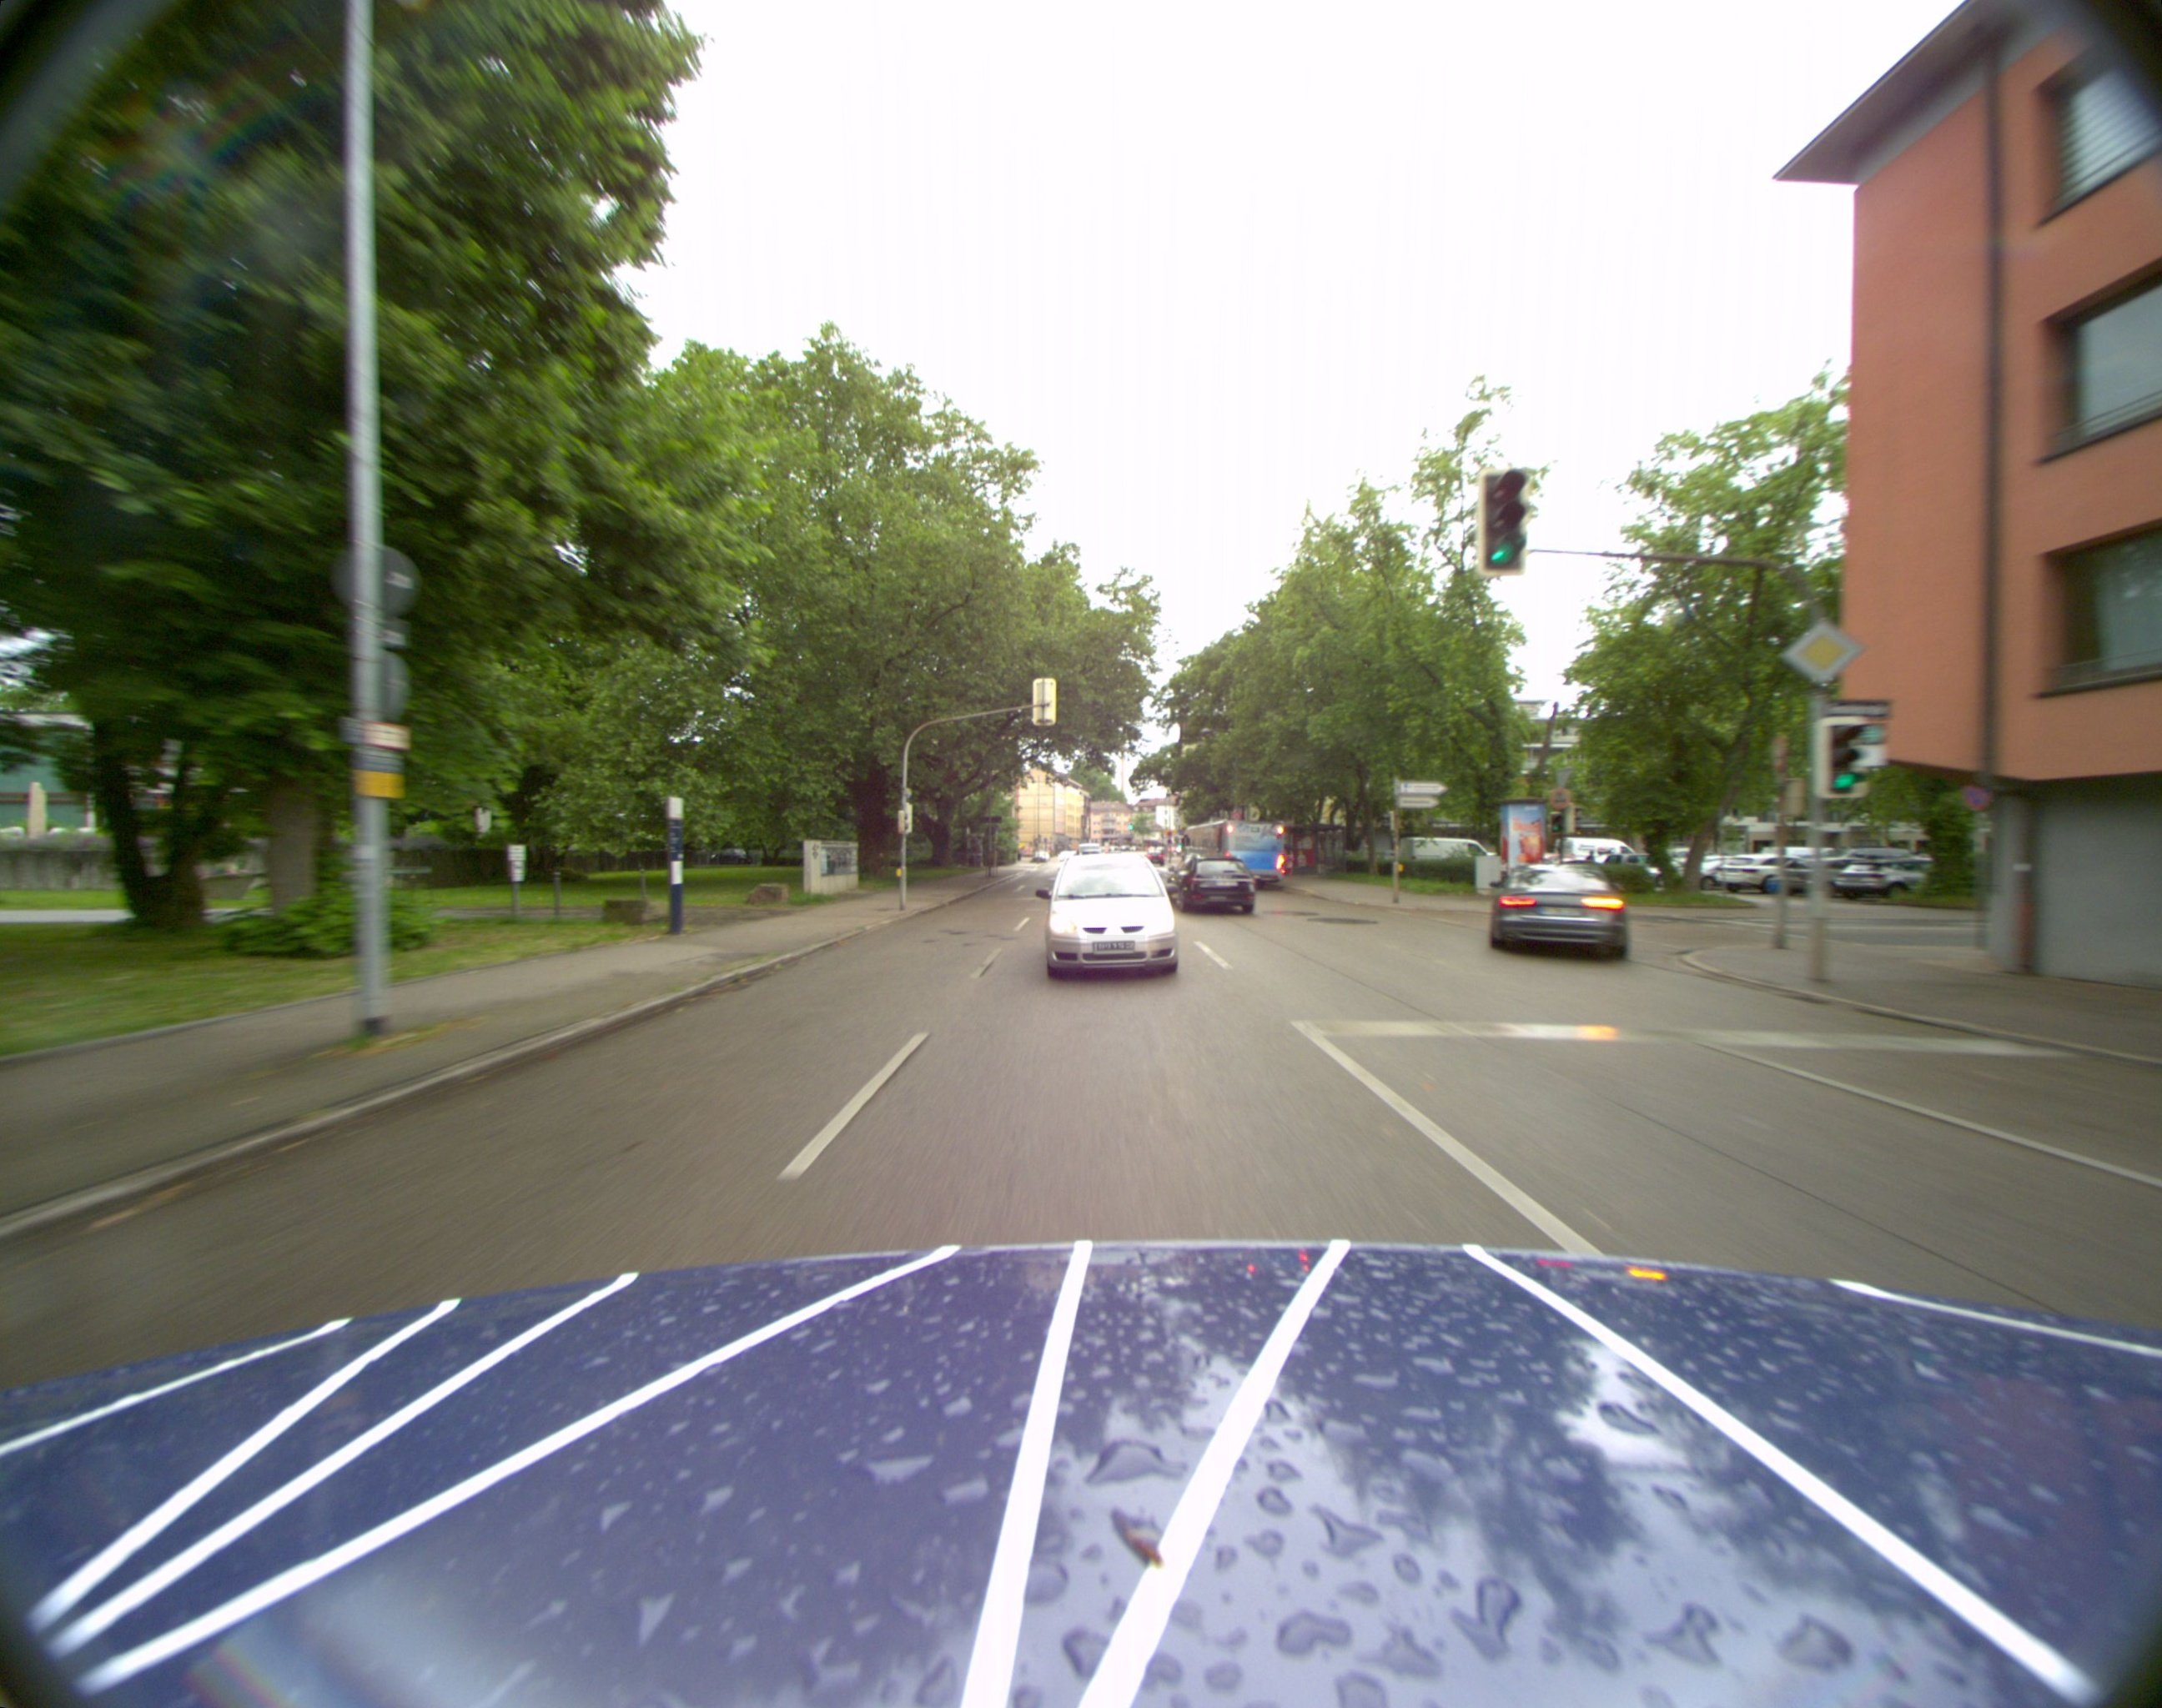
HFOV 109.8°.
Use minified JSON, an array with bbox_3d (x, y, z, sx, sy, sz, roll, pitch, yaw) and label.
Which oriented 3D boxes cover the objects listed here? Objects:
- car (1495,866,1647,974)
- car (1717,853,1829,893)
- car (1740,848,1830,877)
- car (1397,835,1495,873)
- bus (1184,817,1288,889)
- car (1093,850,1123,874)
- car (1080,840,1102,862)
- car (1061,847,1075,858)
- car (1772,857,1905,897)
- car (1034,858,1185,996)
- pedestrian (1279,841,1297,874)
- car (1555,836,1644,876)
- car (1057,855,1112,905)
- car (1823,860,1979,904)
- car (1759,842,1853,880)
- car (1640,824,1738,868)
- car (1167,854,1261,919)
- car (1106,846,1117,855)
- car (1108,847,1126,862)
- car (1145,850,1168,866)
[{"bbox_3d":[8.305,0.961,13.184,1.814,1.407,4.816,2,1,30],"label":"car"},{"bbox_3d":[29.685,0.785,32.648,3.745,1.654,1.701,0,1,-13],"label":"car"},{"bbox_3d":[46.805,0.556,50.574,4.333,1.911,1.703,0,1,2],"label":"car"},{"bbox_3d":[19.063,0.014,39.791,4.334,1.911,1.702,0,1,-2],"label":"car"},{"bbox_3d":[7.206,-0.124,37.301,2.700,2.923,12.082,1,1,0],"label":"bus"},{"bbox_3d":[1.774,0.491,49.353,1.800,1.449,4.491,0,1,4],"label":"car"},{"bbox_3d":[0.990,-0.314,73.471,2.037,2.119,3.999,0,1,1],"label":"car"},{"bbox_3d":[-1.880,-0.222,112.176,1.906,1.538,3.999,0,1,1],"label":"car"},{"bbox_3d":[30.189,0.888,30.328,3.828,1.530,1.702,0,1,-6],"label":"car"},{"bbox_3d":[0.348,0.865,11.305,1.718,1.509,4.806,-2,0,0],"label":"car"},{"bbox_3d":[11.414,0.199,41.867,0.711,1.759,0.687,-3,1,1],"label":"pedestrian"},{"bbox_3d":[34.837,0.097,51.165,4.580,2.598,2.000,0,1,2],"label":"car"},{"bbox_3d":[0.121,0.827,26.188,1.718,1.509,4.088,-1,0,0],"label":"car"},{"bbox_3d":[30.022,0.985,27.923,3.646,1.508,1.831,0,1,2],"label":"car"},{"bbox_3d":[50.717,0.492,53.196,4.580,2.598,2.000,0,1,2],"label":"car"},{"bbox_3d":[37.195,-0.472,46.521,4.584,2.598,1.999,0,1,-6],"label":"car"},{"bbox_3d":[3.410,0.774,20.219,1.800,1.449,4.491,1,0,2],"label":"car"},{"bbox_3d":[5.417,-0.675,135.031,1.906,1.538,3.999,0,1,1],"label":"car"},{"bbox_3d":[4.093,0.060,86.296,1.802,1.508,4.580,2,0,0],"label":"car"},{"bbox_3d":[7.472,0.433,76.047,1.802,1.508,4.807,2,0,0],"label":"car"}]
